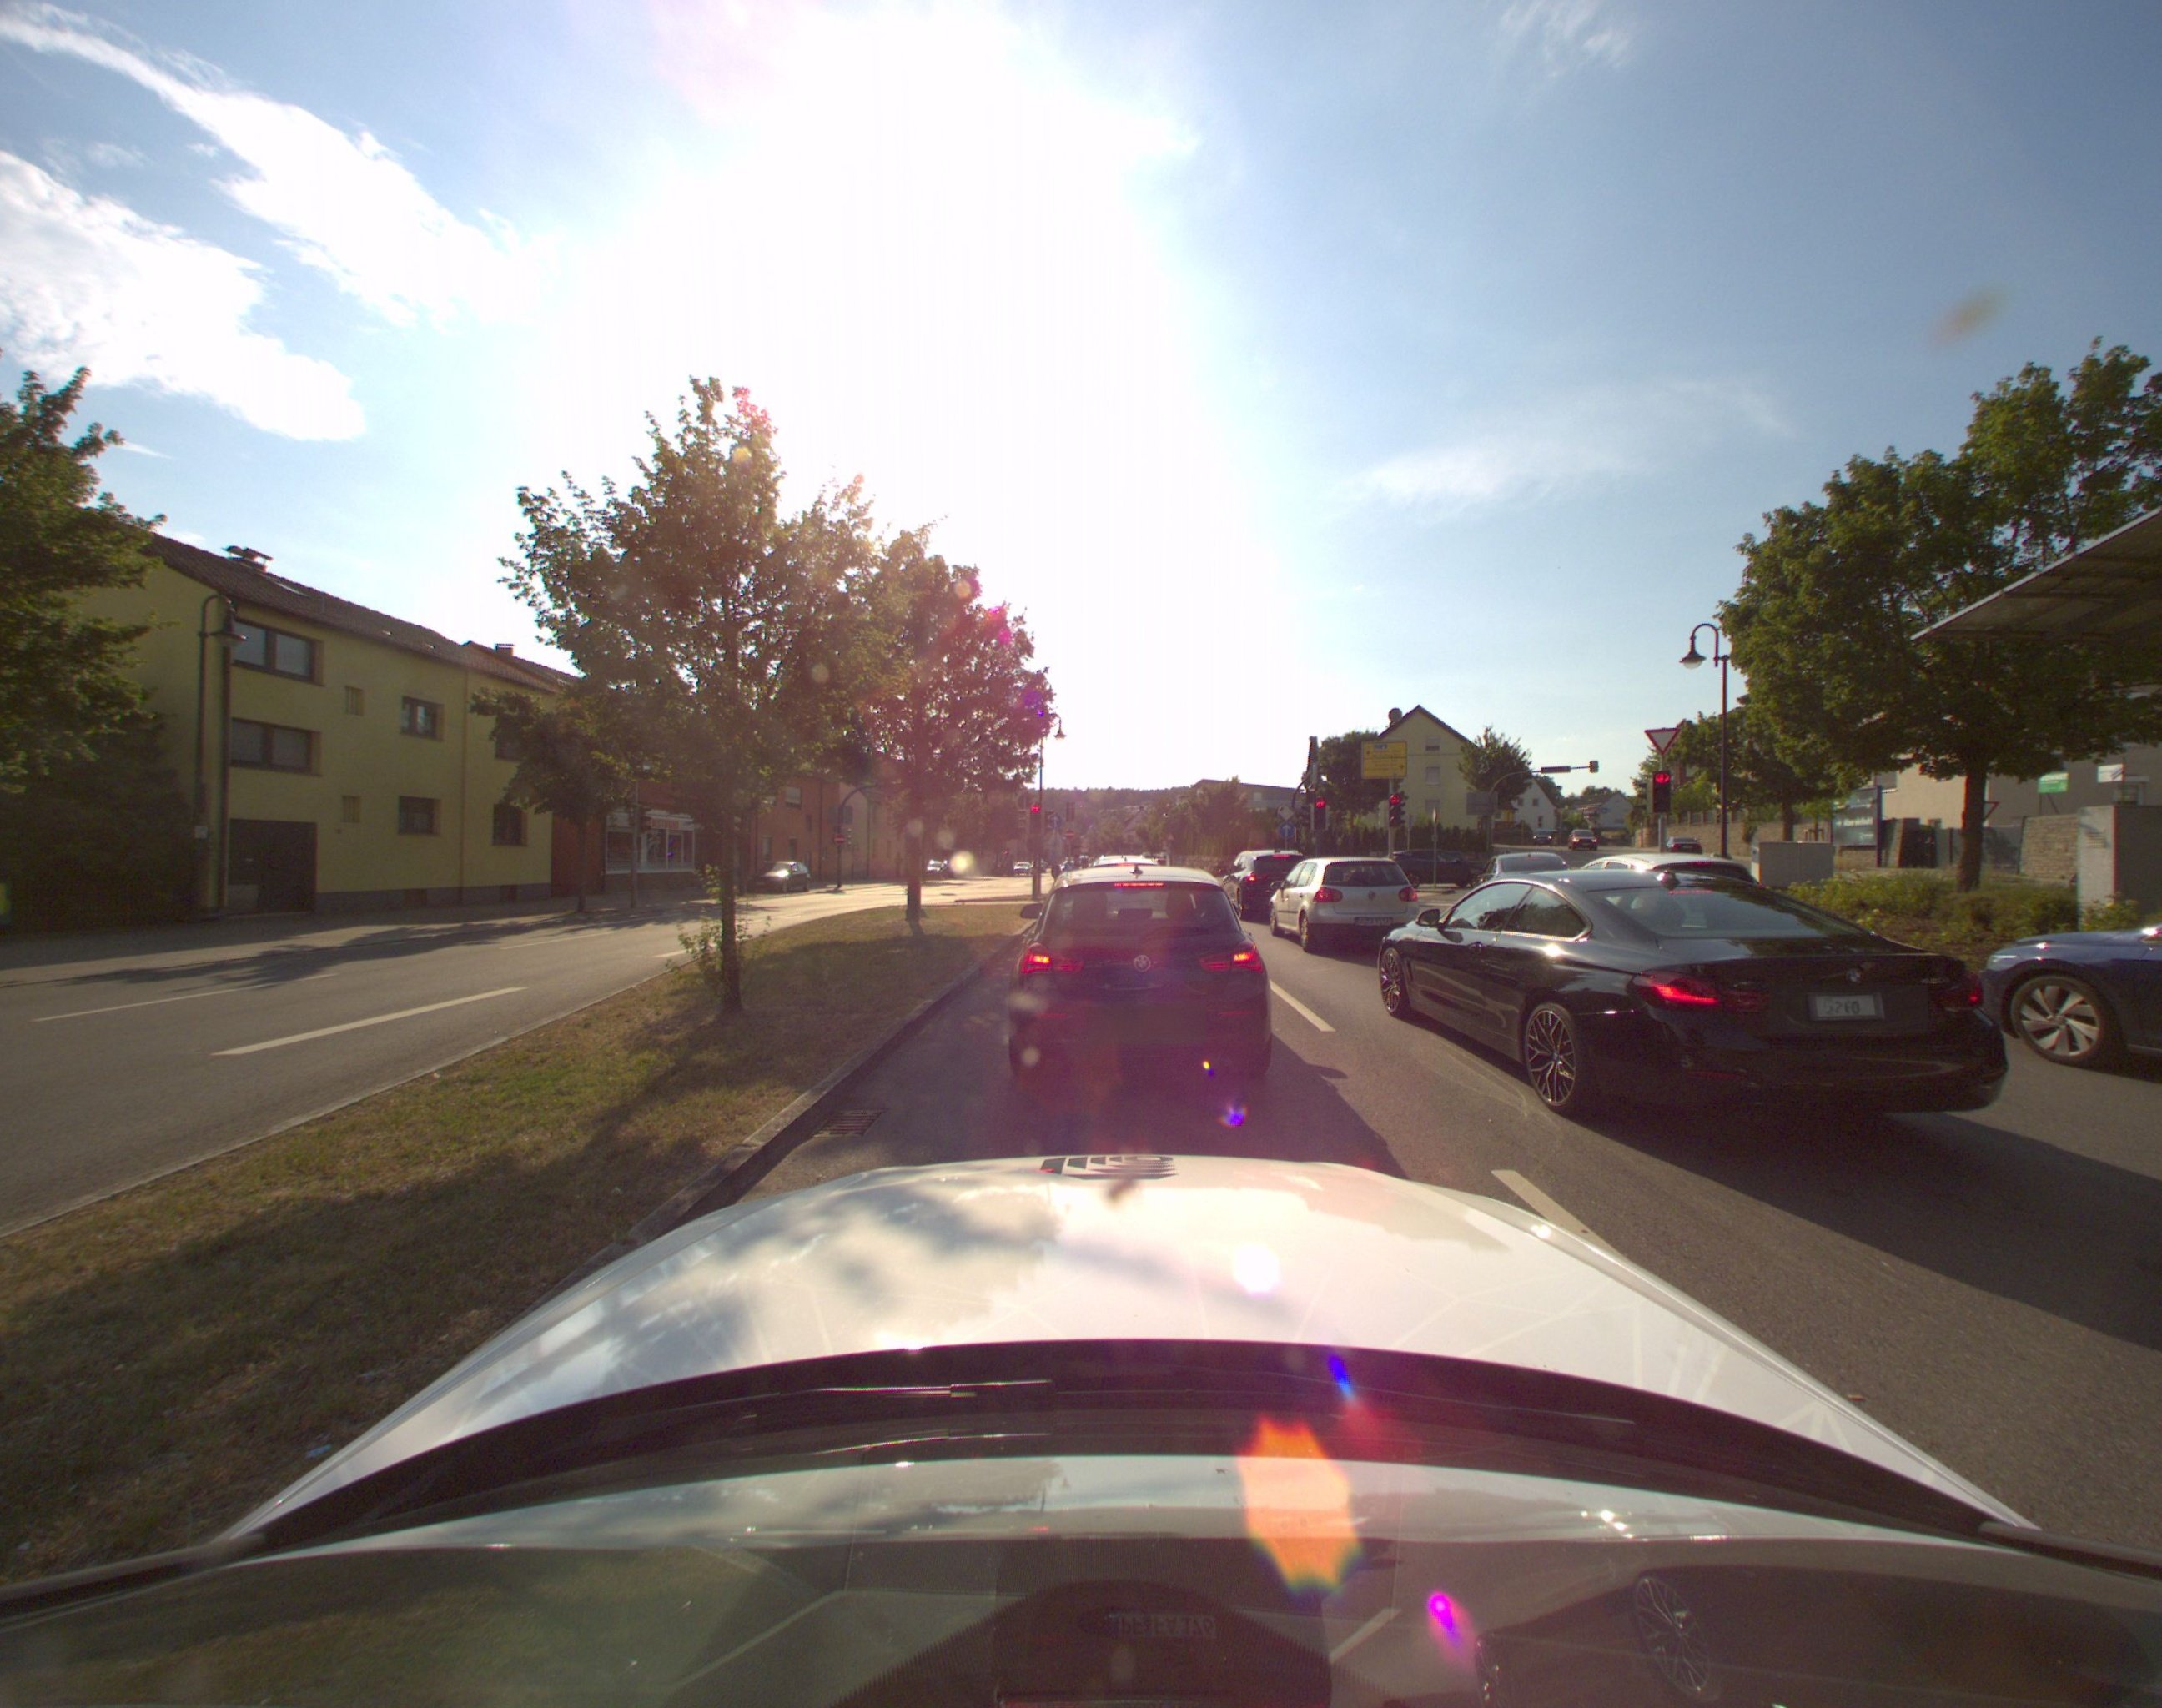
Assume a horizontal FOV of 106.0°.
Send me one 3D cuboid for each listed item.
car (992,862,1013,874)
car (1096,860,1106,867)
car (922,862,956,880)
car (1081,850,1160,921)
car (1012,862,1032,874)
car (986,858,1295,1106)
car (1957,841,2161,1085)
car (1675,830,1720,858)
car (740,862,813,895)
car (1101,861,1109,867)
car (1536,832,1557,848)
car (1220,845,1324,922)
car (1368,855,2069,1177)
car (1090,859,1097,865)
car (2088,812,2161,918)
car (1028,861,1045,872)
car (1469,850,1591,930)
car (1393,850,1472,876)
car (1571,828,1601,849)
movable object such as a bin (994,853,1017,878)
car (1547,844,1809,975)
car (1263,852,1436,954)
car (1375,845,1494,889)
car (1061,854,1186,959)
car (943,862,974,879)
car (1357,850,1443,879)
[{"bbox_3d":[-9.345,1.641,97.562,1.729,1.301,3.804,4,0,5],"label":"car"},{"bbox_3d":[3.961,1.972,164.168,1.729,1.301,3.804,4,0,5],"label":"car"},{"bbox_3d":[-11.742,1.416,67.588,1.728,1.301,4.006,4,0,6],"label":"car"},{"bbox_3d":[1.022,0.737,21.144,1.781,1.594,4.283,-2,0,2],"label":"car"},{"bbox_3d":[-6.826,1.604,94.627,1.729,1.301,3.804,4,0,5],"label":"car"},{"bbox_3d":[0.443,0.770,6.961,1.781,1.397,4.283,-2,0,2],"label":"car"},{"bbox_3d":[7.394,0.651,3.932,1.755,1.453,4.321,-2,0,2],"label":"car"},{"bbox_3d":[39.425,-0.654,52.037,1.946,1.680,4.241,-2,0,42],"label":"car"},{"bbox_3d":[-14.137,1.107,38.026,1.730,1.301,4.002,4,0,2],"label":"car"},{"bbox_3d":[5.552,2.243,187.702,1.729,1.301,3.804,4,0,5],"label":"car"},{"bbox_3d":[51.845,-1.567,90.667,1.824,1.739,4.814,-1,0,32],"label":"car"},{"bbox_3d":[4.570,0.647,20.038,1.755,1.656,3.905,-2,0,2],"label":"car"},{"bbox_3d":[3.621,0.737,5.816,1.755,1.397,4.283,-2,0,2],"label":"car"},{"bbox_3d":[3.416,2.214,223.693,1.729,1.301,3.804,4,0,5],"label":"car"},{"bbox_3d":[18.495,0.158,12.378,3.793,1.632,1.784,0,0,10],"label":"car"},{"bbox_3d":[-5.882,1.689,108.146,1.729,1.301,3.804,4,0,5],"label":"car"},{"bbox_3d":[9.883,0.712,18.231,1.642,1.542,4.420,-2,0,19],"label":"car"},{"bbox_3d":[20.898,0.534,48.491,3.966,1.489,1.851,0,0,6],"label":"car"},{"bbox_3d":[42.050,-1.291,67.854,1.825,1.641,4.458,0,0,28],"label":"car"},{"bbox_3d":[-7.721,1.171,83.447,1.729,2.442,4.452,-1,0,3],"label":"movable object such as a bin"},{"bbox_3d":[8.112,0.670,11.458,1.608,1.542,3.326,-2,0,9],"label":"car"},{"bbox_3d":[4.323,0.714,13.756,1.755,1.426,3.905,-2,0,2],"label":"car"},{"bbox_3d":[14.823,0.537,34.324,4.181,1.680,1.974,-2,0,5],"label":"car"},{"bbox_3d":[0.721,0.777,14.105,1.781,1.494,4.283,-2,0,2],"label":"car"},{"bbox_3d":[-11.057,1.460,73.721,1.729,1.301,4.005,4,0,5],"label":"car"},{"bbox_3d":[17.348,0.568,44.353,3.974,1.489,1.848,0,0,-1],"label":"car"}]
